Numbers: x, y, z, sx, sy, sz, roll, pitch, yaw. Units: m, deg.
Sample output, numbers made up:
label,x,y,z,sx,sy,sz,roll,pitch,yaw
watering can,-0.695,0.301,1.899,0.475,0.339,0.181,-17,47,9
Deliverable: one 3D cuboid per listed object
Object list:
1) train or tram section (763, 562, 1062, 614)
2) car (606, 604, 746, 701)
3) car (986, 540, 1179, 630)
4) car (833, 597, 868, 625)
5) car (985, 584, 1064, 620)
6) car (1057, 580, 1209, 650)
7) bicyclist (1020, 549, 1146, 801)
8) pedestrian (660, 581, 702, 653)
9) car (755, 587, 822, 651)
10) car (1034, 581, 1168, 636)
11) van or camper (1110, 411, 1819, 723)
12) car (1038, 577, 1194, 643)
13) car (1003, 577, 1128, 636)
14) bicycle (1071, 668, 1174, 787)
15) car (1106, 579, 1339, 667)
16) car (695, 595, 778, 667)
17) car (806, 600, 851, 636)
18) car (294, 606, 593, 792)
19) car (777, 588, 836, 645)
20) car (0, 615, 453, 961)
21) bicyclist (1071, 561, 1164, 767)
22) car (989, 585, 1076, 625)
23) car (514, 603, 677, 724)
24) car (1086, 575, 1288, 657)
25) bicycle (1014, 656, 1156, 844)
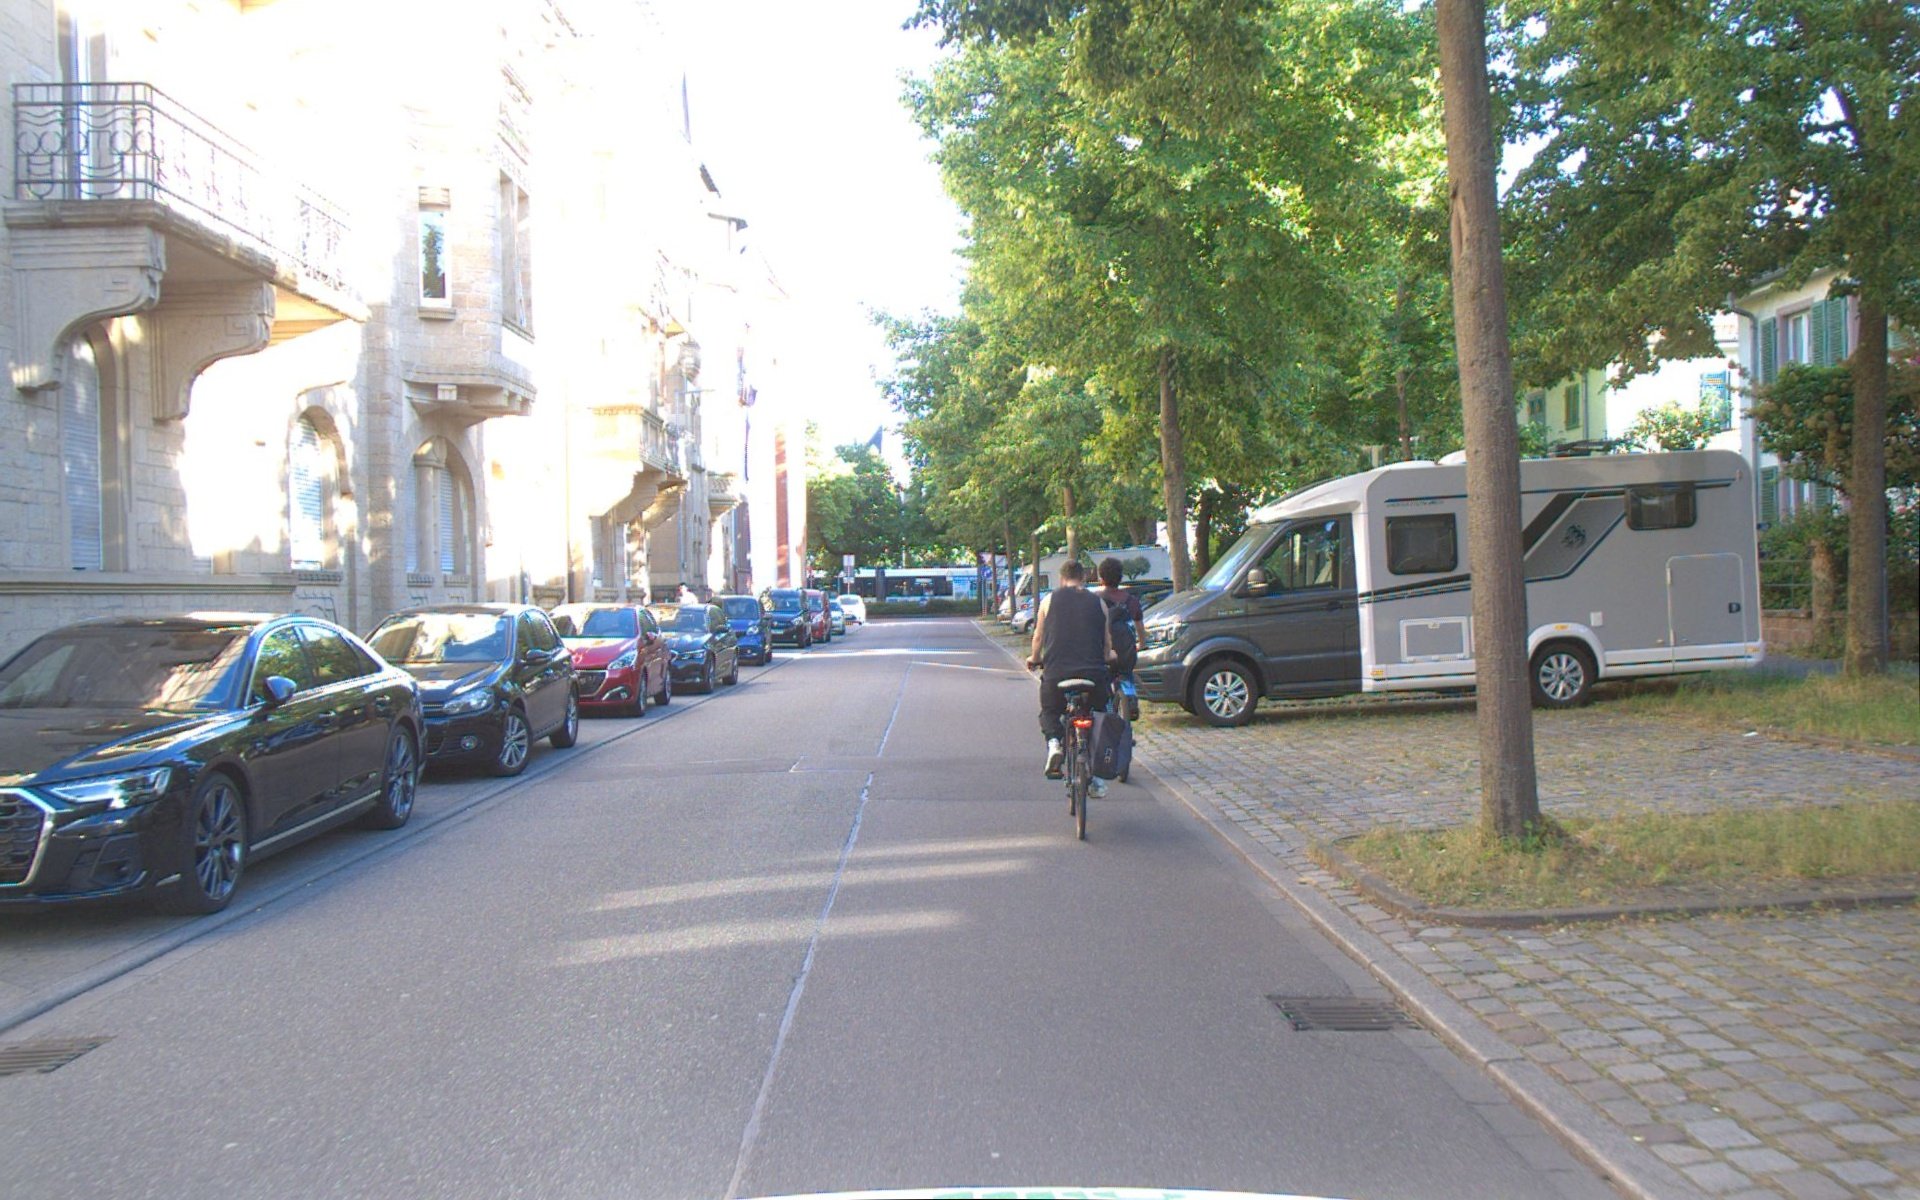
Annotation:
label,x,y,z,sx,sy,sz,roll,pitch,yaw
train or tram section,-3.470,-0.826,128.953,23.486,3.773,4.255,0,-1,-24
car,-4.806,0.835,28.553,1.641,1.455,4.550,1,1,0
car,4.637,-0.576,63.360,7.006,3.030,2.462,-3,0,-4
car,-5.711,0.561,86.386,1.551,1.399,4.131,1,1,0
car,3.324,0.094,85.578,3.907,1.835,1.833,0,-1,-3
car,4.403,0.399,42.505,3.695,1.628,1.691,-2,-2,1
bicyclist,0.792,0.477,10.862,0.715,1.575,0.884,1,-1,-2
pedestrian,-6.926,0.423,41.125,0.919,1.773,0.735,0,-1,-1
car,-5.244,0.543,50.900,1.607,1.814,4.354,1,1,0
car,4.521,0.294,53.354,4.057,1.628,1.701,-2,-2,-4
van or camper,5.350,-0.351,18.432,7.001,2.692,2.465,-5,0,1
car,4.200,0.285,44.955,4.053,1.628,1.702,-2,-2,1
car,3.546,0.221,56.014,4.002,1.678,1.640,-4,0,-3
bicycle,1.318,1.024,13.720,0.620,0.813,1.832,-2,0,-1
car,4.793,0.404,30.511,3.953,1.479,1.689,-1,0,-5
car,-5.071,0.679,37.813,1.563,1.515,2.735,2,1,-2
car,-5.466,0.721,69.065,1.551,1.367,4.131,1,1,0
car,-4.652,0.822,15.499,1.662,1.479,4.025,-1,-1,-2
car,-5.337,0.549,57.987,1.654,1.857,4.272,1,1,0
car,-4.584,0.850,9.699,1.774,1.452,4.896,1,0,-1
bicyclist,1.303,0.516,13.811,0.675,1.655,0.998,0,0,-1
car,3.383,0.229,77.691,3.907,1.835,1.833,0,-1,-3
car,-4.933,0.803,22.826,1.596,1.478,3.835,0,0,-3
car,4.896,0.365,36.008,4.136,1.628,1.691,-2,-2,1
bicycle,0.785,0.936,10.920,0.722,1.072,1.955,1,-1,-2
